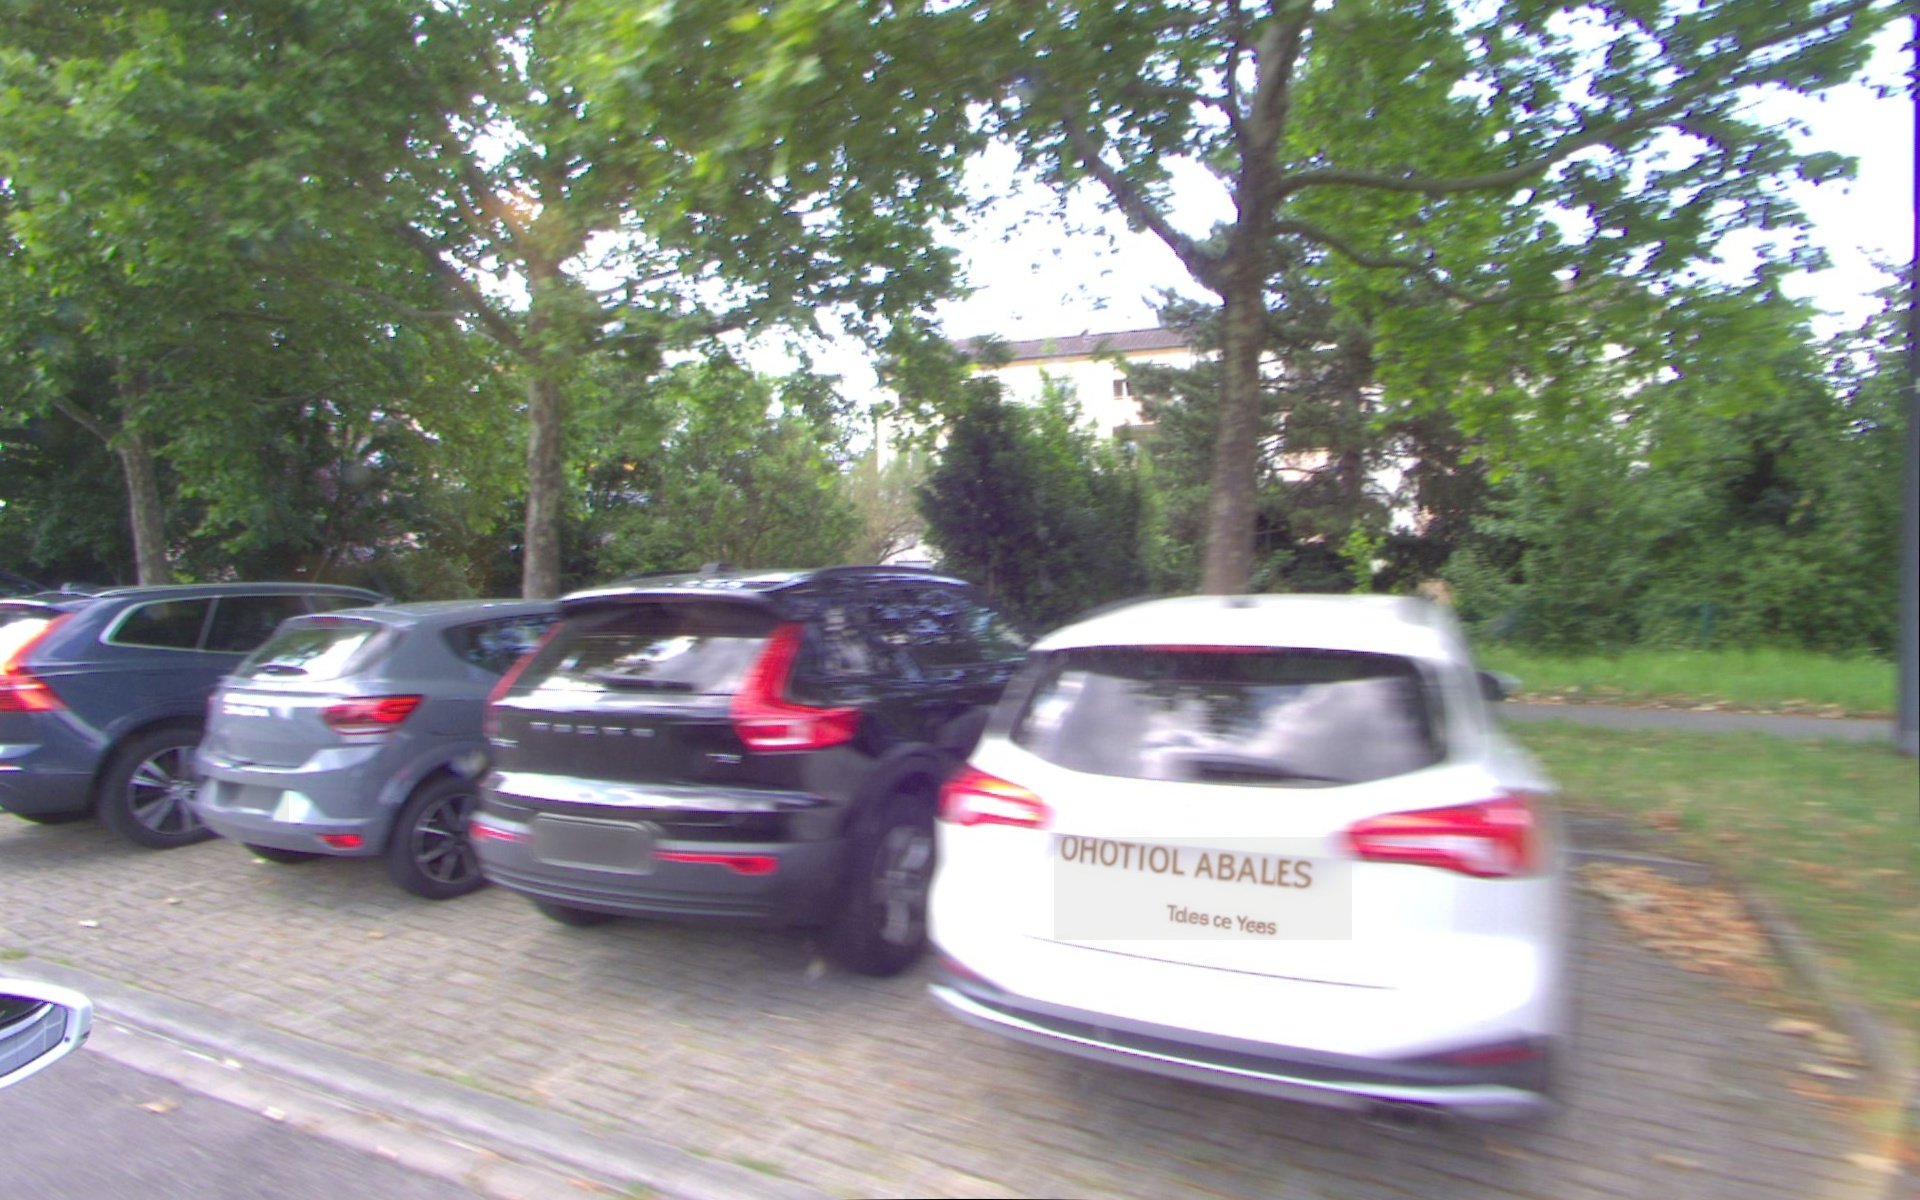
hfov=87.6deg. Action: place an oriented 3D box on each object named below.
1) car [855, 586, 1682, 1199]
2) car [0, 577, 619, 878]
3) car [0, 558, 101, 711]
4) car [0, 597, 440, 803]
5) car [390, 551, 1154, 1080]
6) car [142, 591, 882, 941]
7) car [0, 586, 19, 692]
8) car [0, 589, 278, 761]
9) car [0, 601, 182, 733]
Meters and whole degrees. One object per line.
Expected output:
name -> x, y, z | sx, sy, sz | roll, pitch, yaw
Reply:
car -> 1.531, 0.696, 4.406 | 1.818, 1.493, 4.656 | 0, 1, 25
car -> -4.990, 0.674, 7.742 | 1.730, 1.662, 4.372 | 0, 1, 31
car -> -14.794, 0.508, 13.473 | 1.827, 2.152, 4.540 | 0, 1, 28
car -> -7.285, 0.757, 9.402 | 1.729, 1.514, 3.961 | 0, 1, 28
car -> -0.390, 0.633, 5.601 | 1.818, 1.648, 4.656 | 0, 1, 25
car -> -2.495, 0.720, 6.776 | 1.730, 1.521, 4.372 | 0, 1, 31
car -> -18.035, 0.697, 15.618 | 1.827, 1.790, 4.540 | 0, 1, 28
car -> -9.725, 0.714, 10.522 | 1.725, 1.627, 3.970 | 0, 1, 19
car -> -12.059, 0.809, 11.977 | 1.729, 1.514, 3.961 | 0, 1, 28
